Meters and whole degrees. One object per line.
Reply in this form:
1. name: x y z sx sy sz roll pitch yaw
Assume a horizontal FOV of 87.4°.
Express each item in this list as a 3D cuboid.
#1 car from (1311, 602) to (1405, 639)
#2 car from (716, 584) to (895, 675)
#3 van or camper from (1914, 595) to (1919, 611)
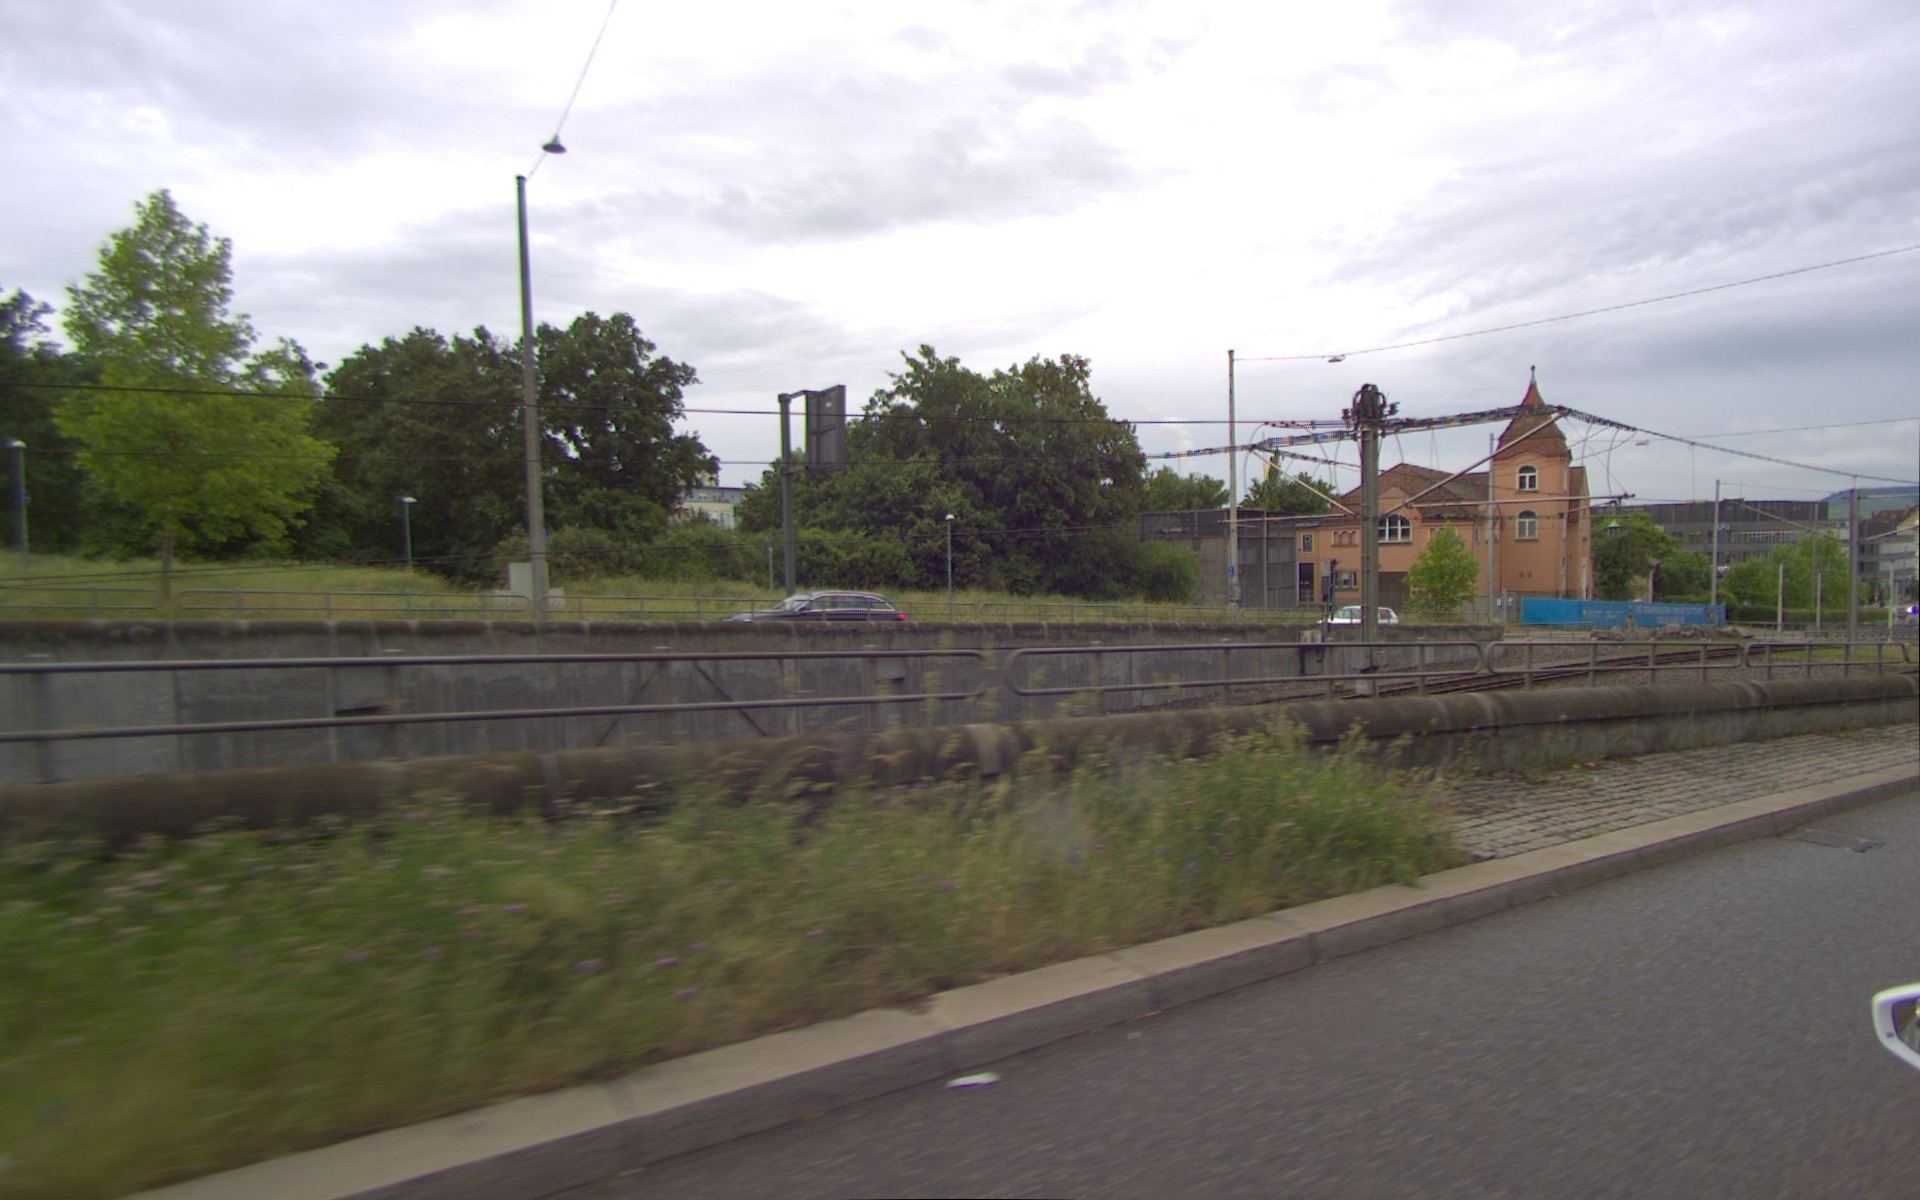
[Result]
1. car: 15.039 0.749 37.920 3.519 1.309 1.546 0 2 -32
2. car: -3.859 0.698 25.283 3.996 1.997 1.877 1 4 -36
3. van or camper: 148.134 0.436 154.267 3.969 2.376 1.976 1 -1 -41
